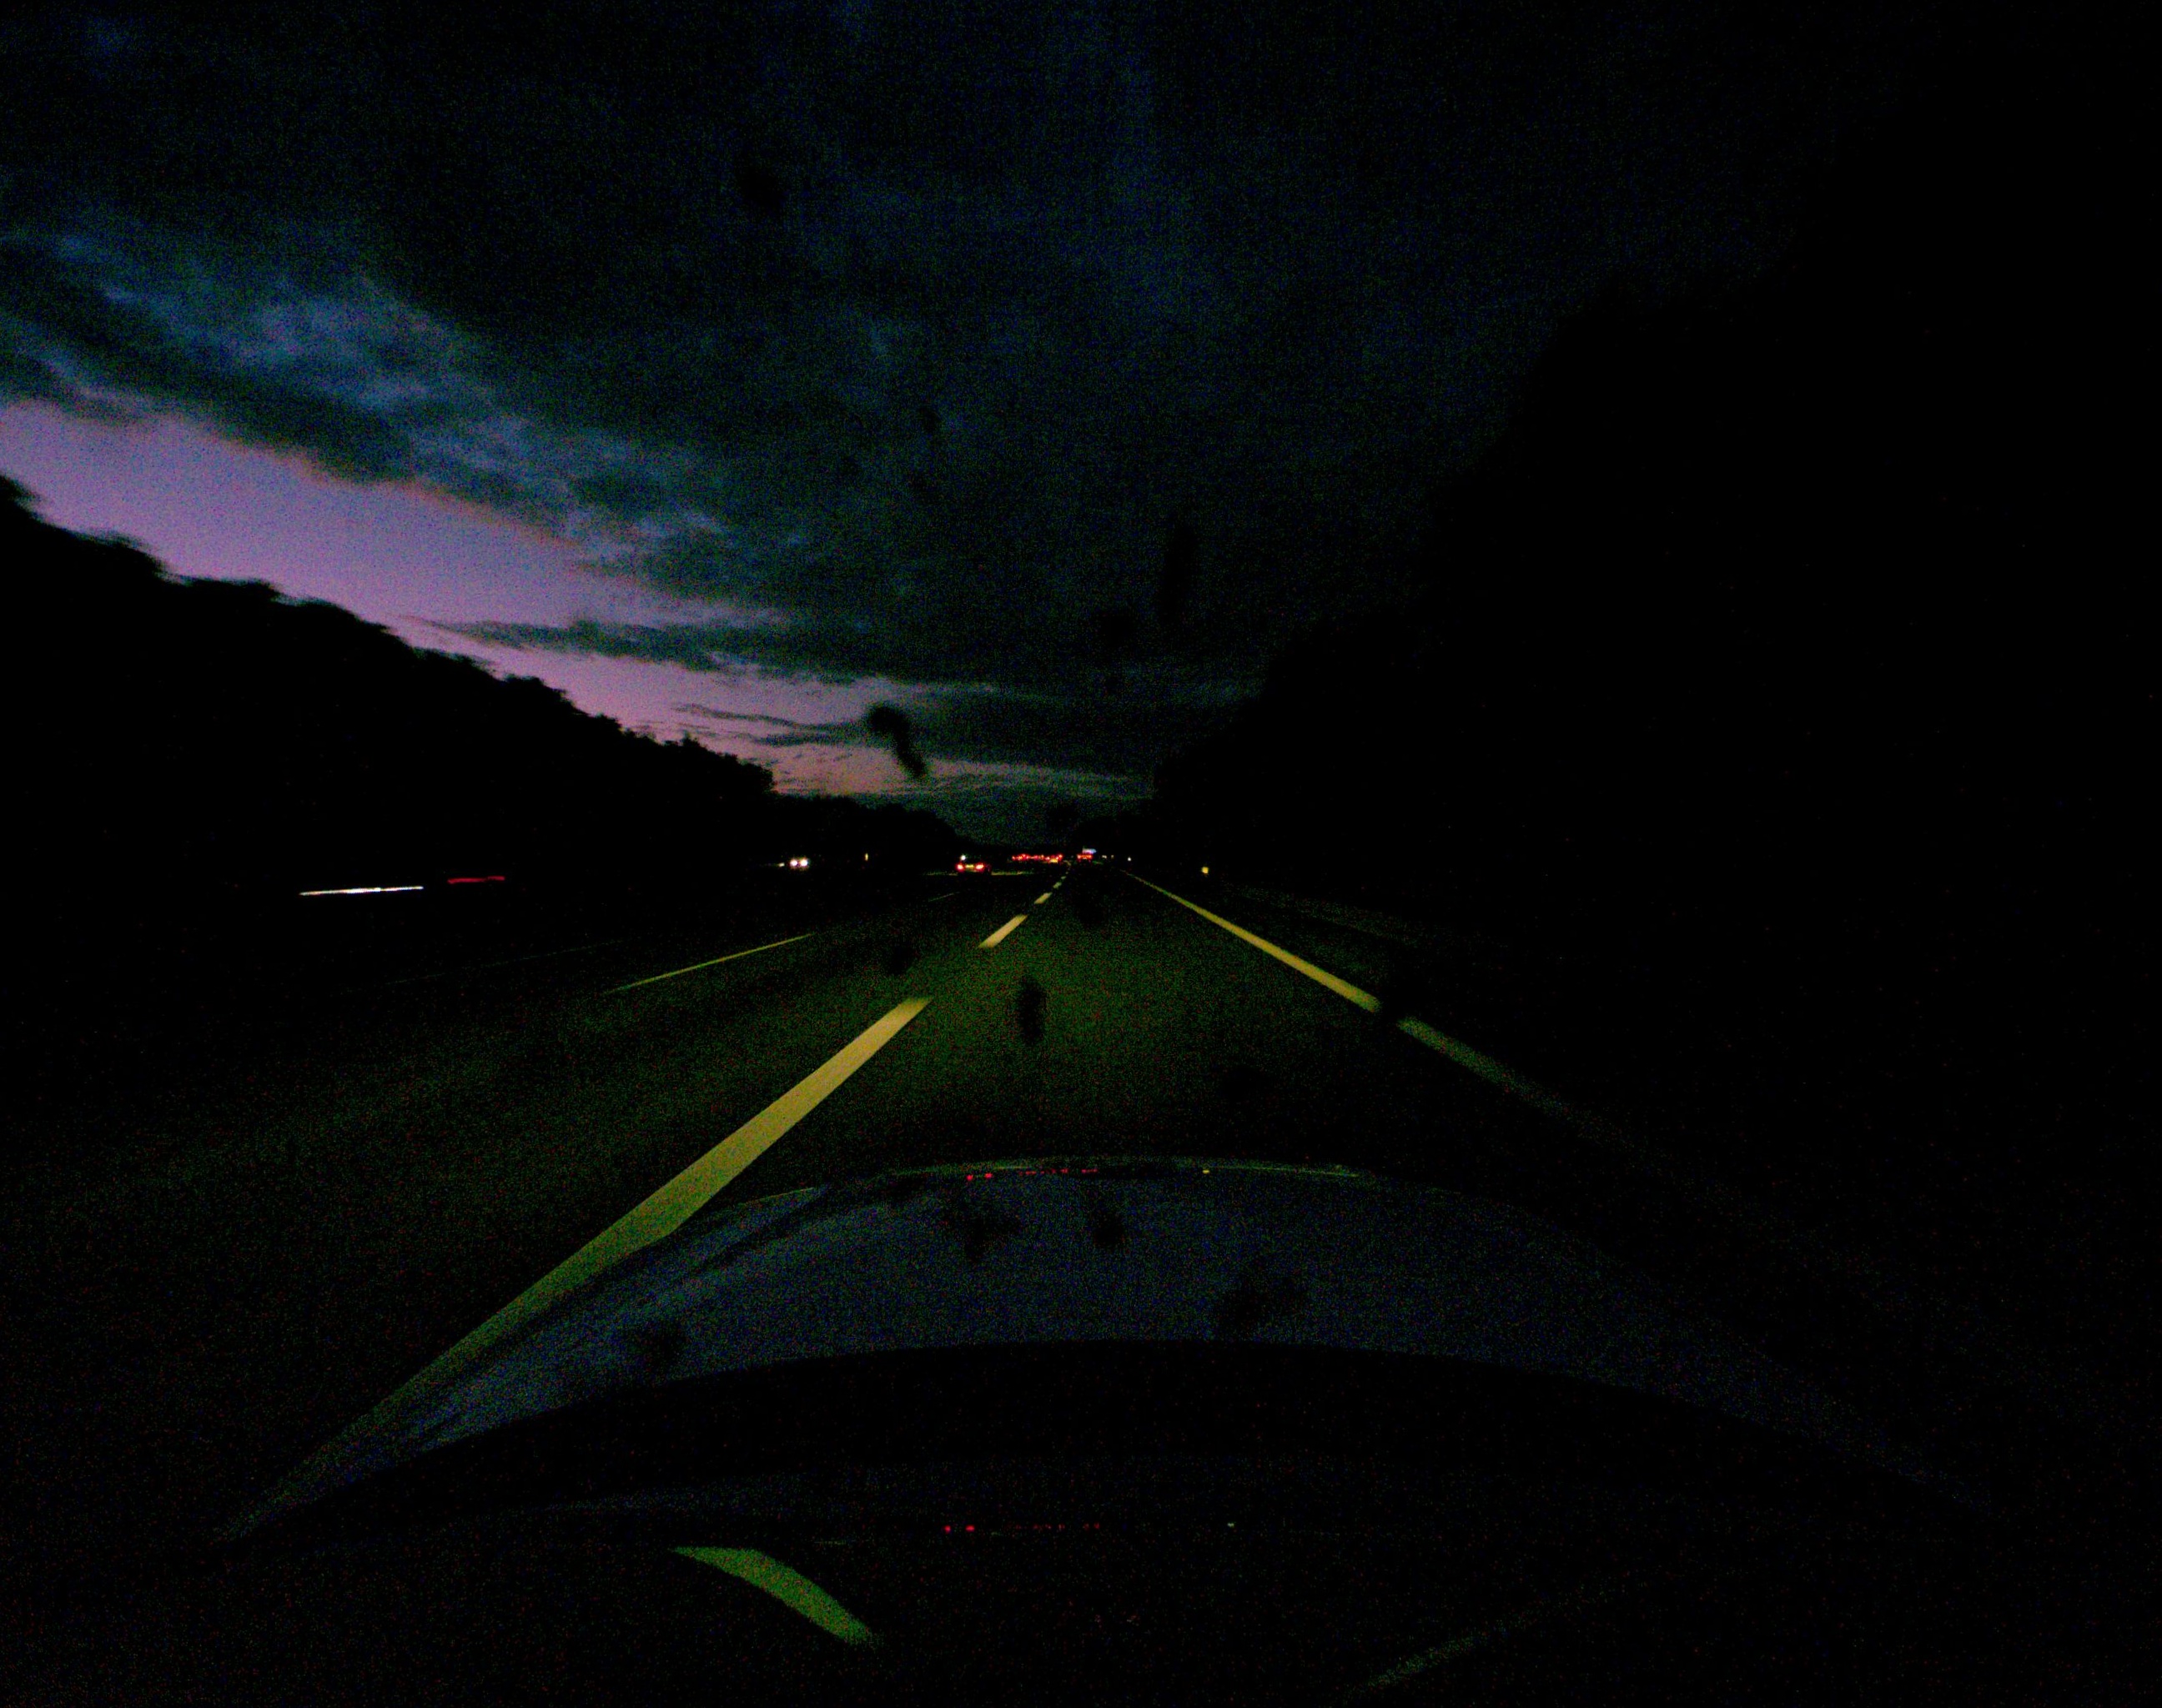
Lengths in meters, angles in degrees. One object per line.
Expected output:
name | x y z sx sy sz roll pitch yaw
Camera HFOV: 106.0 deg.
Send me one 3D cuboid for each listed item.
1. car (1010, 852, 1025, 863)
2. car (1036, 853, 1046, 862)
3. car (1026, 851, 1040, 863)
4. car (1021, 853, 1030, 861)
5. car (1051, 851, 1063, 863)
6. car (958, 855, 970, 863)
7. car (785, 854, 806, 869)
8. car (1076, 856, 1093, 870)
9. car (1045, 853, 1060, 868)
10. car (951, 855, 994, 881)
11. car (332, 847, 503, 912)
car | -11.623 0.629 149.671 2.095 2.013 4.004 -2 0 3
car | -8.669 0.767 176.616 1.989 2.014 3.996 -1 -1 -2
car | -7.870 0.476 134.349 2.064 2.013 4.000 -1 0 1
car | -15.705 0.798 230.538 1.984 2.013 4.006 3 0 5
car | -4.201 0.510 143.861 1.987 2.013 4.000 -1 0 0
car | -25.920 1.070 180.335 1.987 1.664 5.009 -1 0 0
car | -40.076 1.101 114.277 2.005 2.014 4.965 0 -1 -28
car | 0.430 1.099 101.878 1.987 1.659 4.314 -1 0 0
car | -4.017 0.923 115.876 1.987 2.014 3.999 0 0 0
car | -7.230 0.923 54.615 1.985 1.642 4.558 -1 0 3
car | -22.352 0.815 27.726 1.986 2.014 4.497 -1 -1 2
